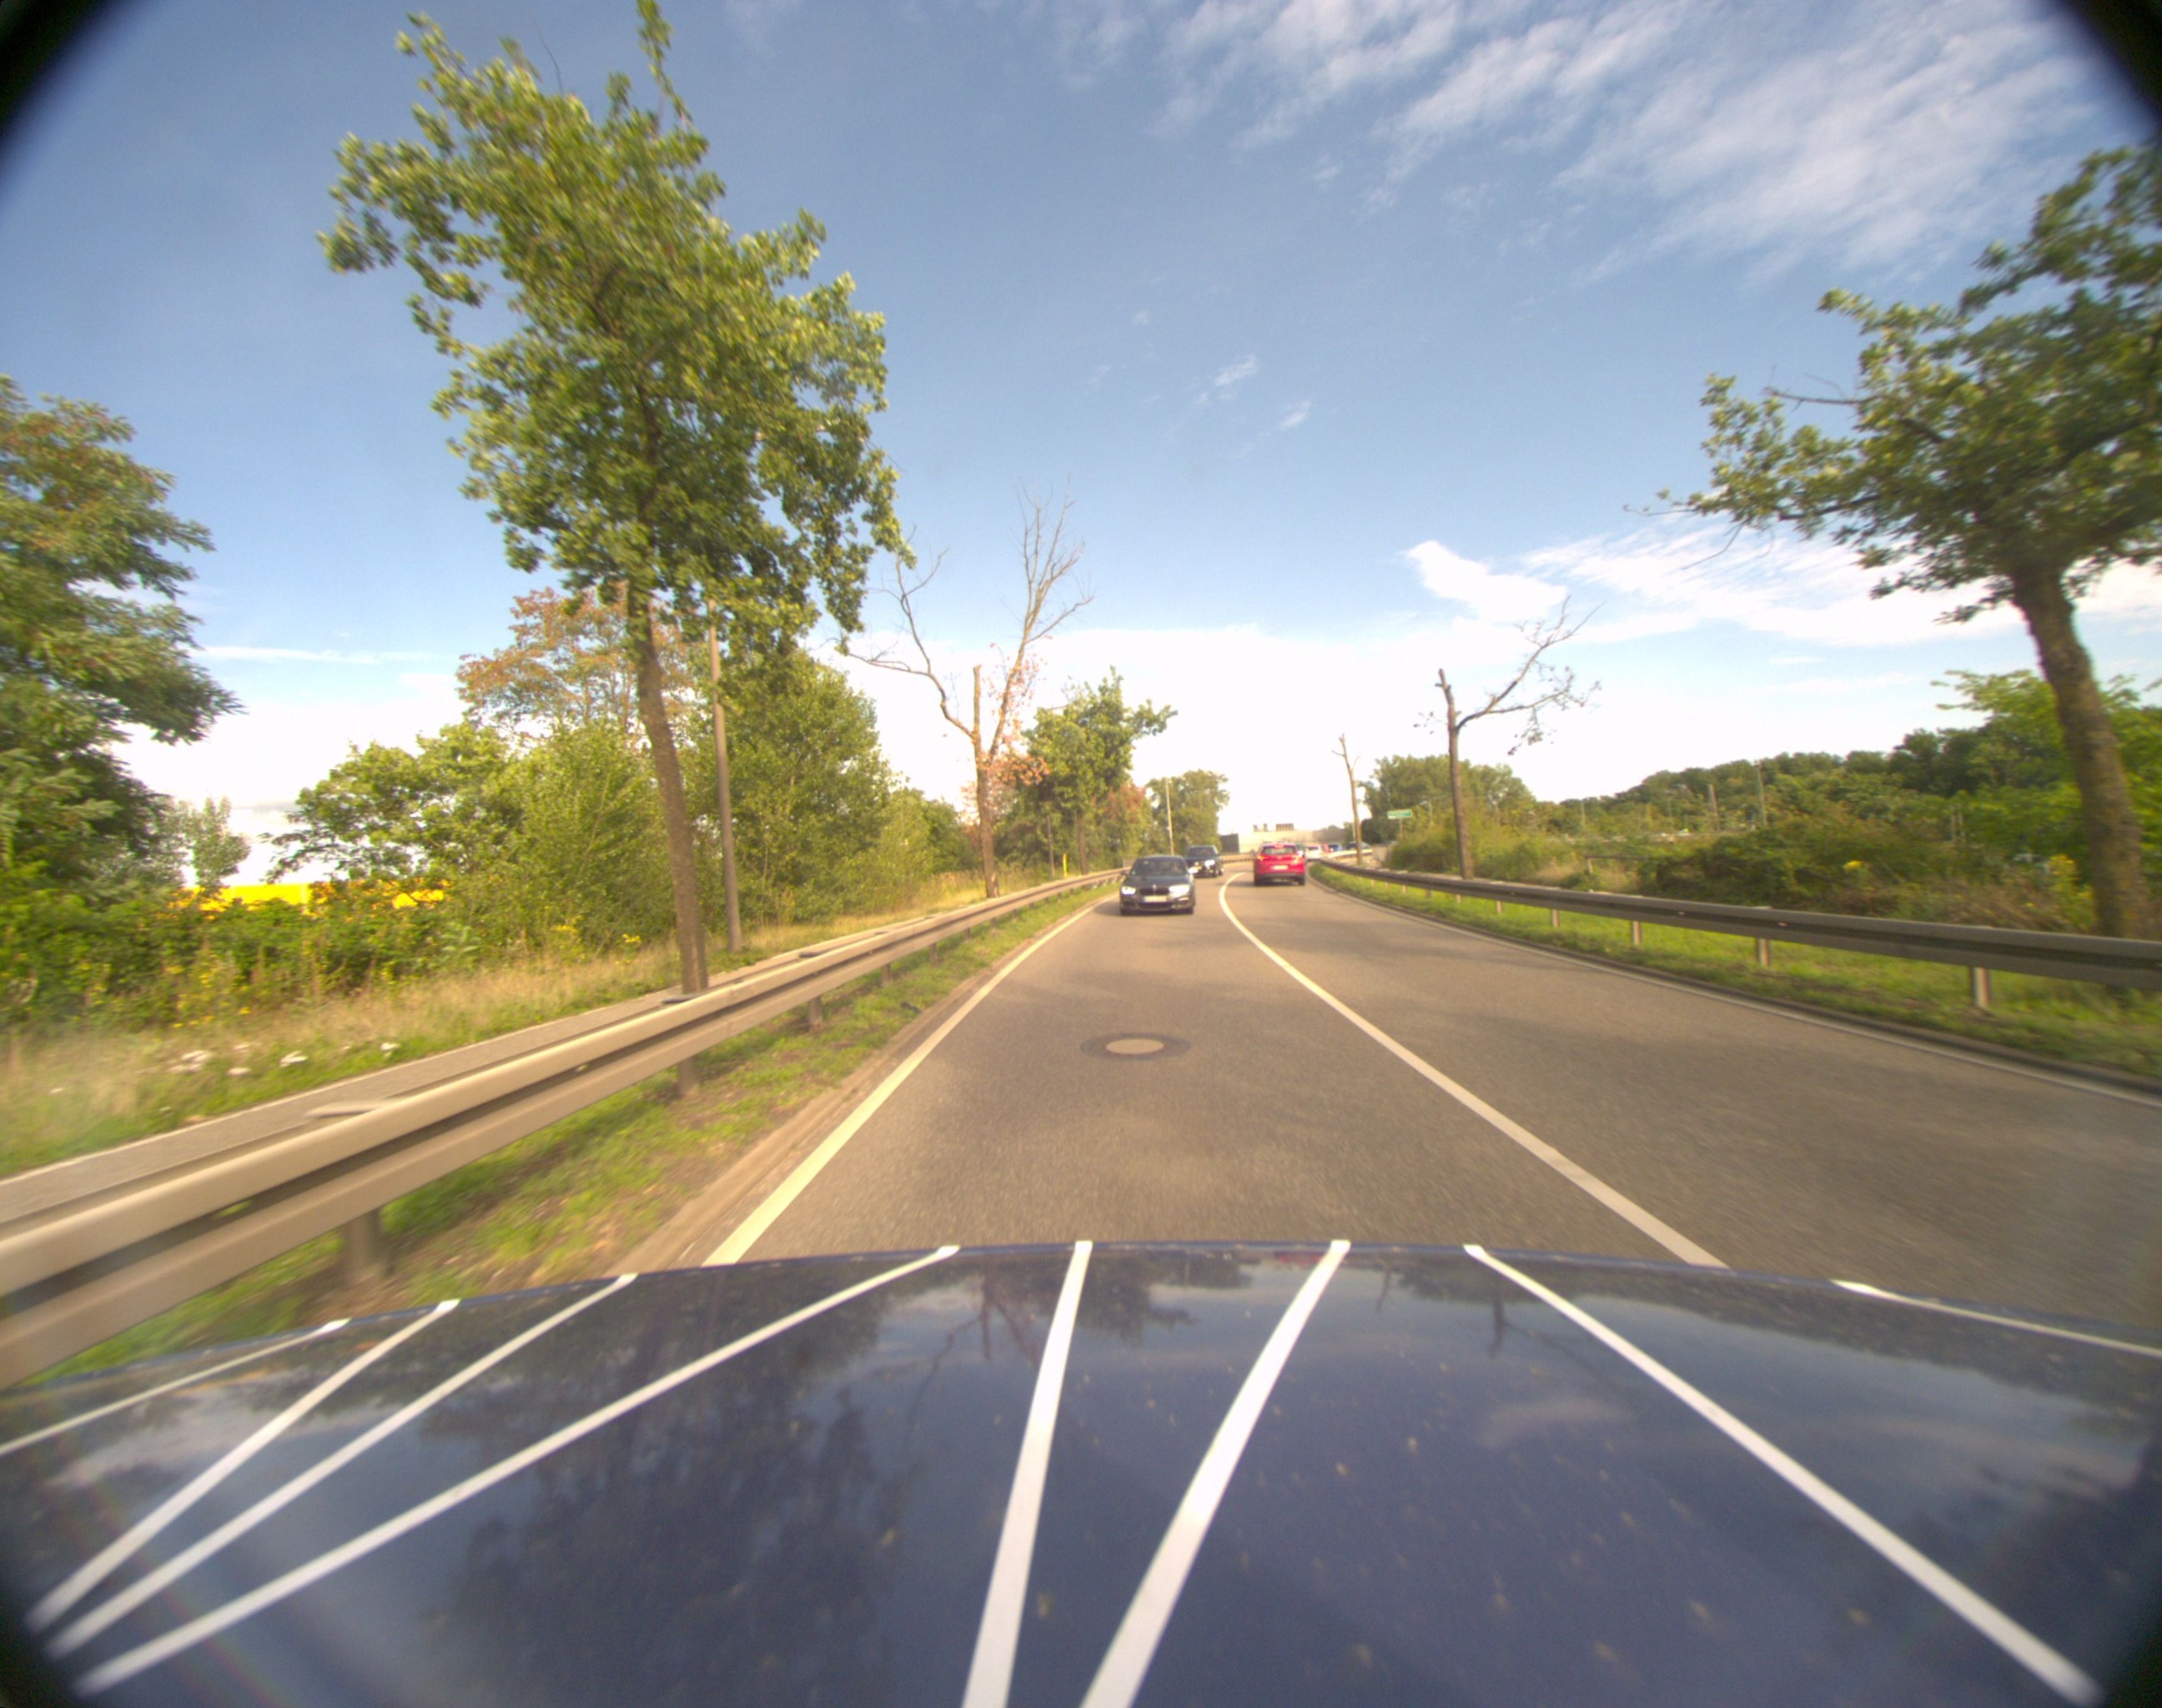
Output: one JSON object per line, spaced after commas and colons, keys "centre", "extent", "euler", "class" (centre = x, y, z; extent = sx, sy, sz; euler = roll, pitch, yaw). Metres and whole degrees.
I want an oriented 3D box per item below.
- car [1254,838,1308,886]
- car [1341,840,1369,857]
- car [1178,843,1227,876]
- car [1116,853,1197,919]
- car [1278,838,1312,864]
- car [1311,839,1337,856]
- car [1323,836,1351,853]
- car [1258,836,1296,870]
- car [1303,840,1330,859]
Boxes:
{"centre": [7.763, 0.259, 29.864], "extent": [1.812, 1.665, 4.301], "euler": [-3, 1, 12], "class": "car"}
{"centre": [29.859, -0.603, 82.797], "extent": [1.927, 1.640, 4.596], "euler": [-2, 1, 32], "class": "car"}
{"centre": [6.330, 0.233, 39.219], "extent": [1.816, 1.498, 4.396], "euler": [-2, 1, 18], "class": "car"}
{"centre": [2.027, 0.726, 19.346], "extent": [1.785, 1.396, 3.973], "euler": [-2, 1, 9], "class": "car"}
{"centre": [15.045, -0.232, 53.276], "extent": [1.891, 1.640, 4.648], "euler": [-2, 1, 20], "class": "car"}
{"centre": [22.248, -0.601, 69.419], "extent": [1.600, 1.456, 3.742], "euler": [-2, 1, 27], "class": "car"}
{"centre": [25.109, -0.965, 74.374], "extent": [1.800, 1.511, 4.015], "euler": [-2, 1, 30], "class": "car"}
{"centre": [11.811, -0.120, 45.638], "extent": [1.903, 1.800, 5.410], "euler": [-2, 1, 17], "class": "car"}
{"centre": [19.446, -0.393, 62.724], "extent": [1.600, 1.456, 3.742], "euler": [-2, 1, 24], "class": "car"}
